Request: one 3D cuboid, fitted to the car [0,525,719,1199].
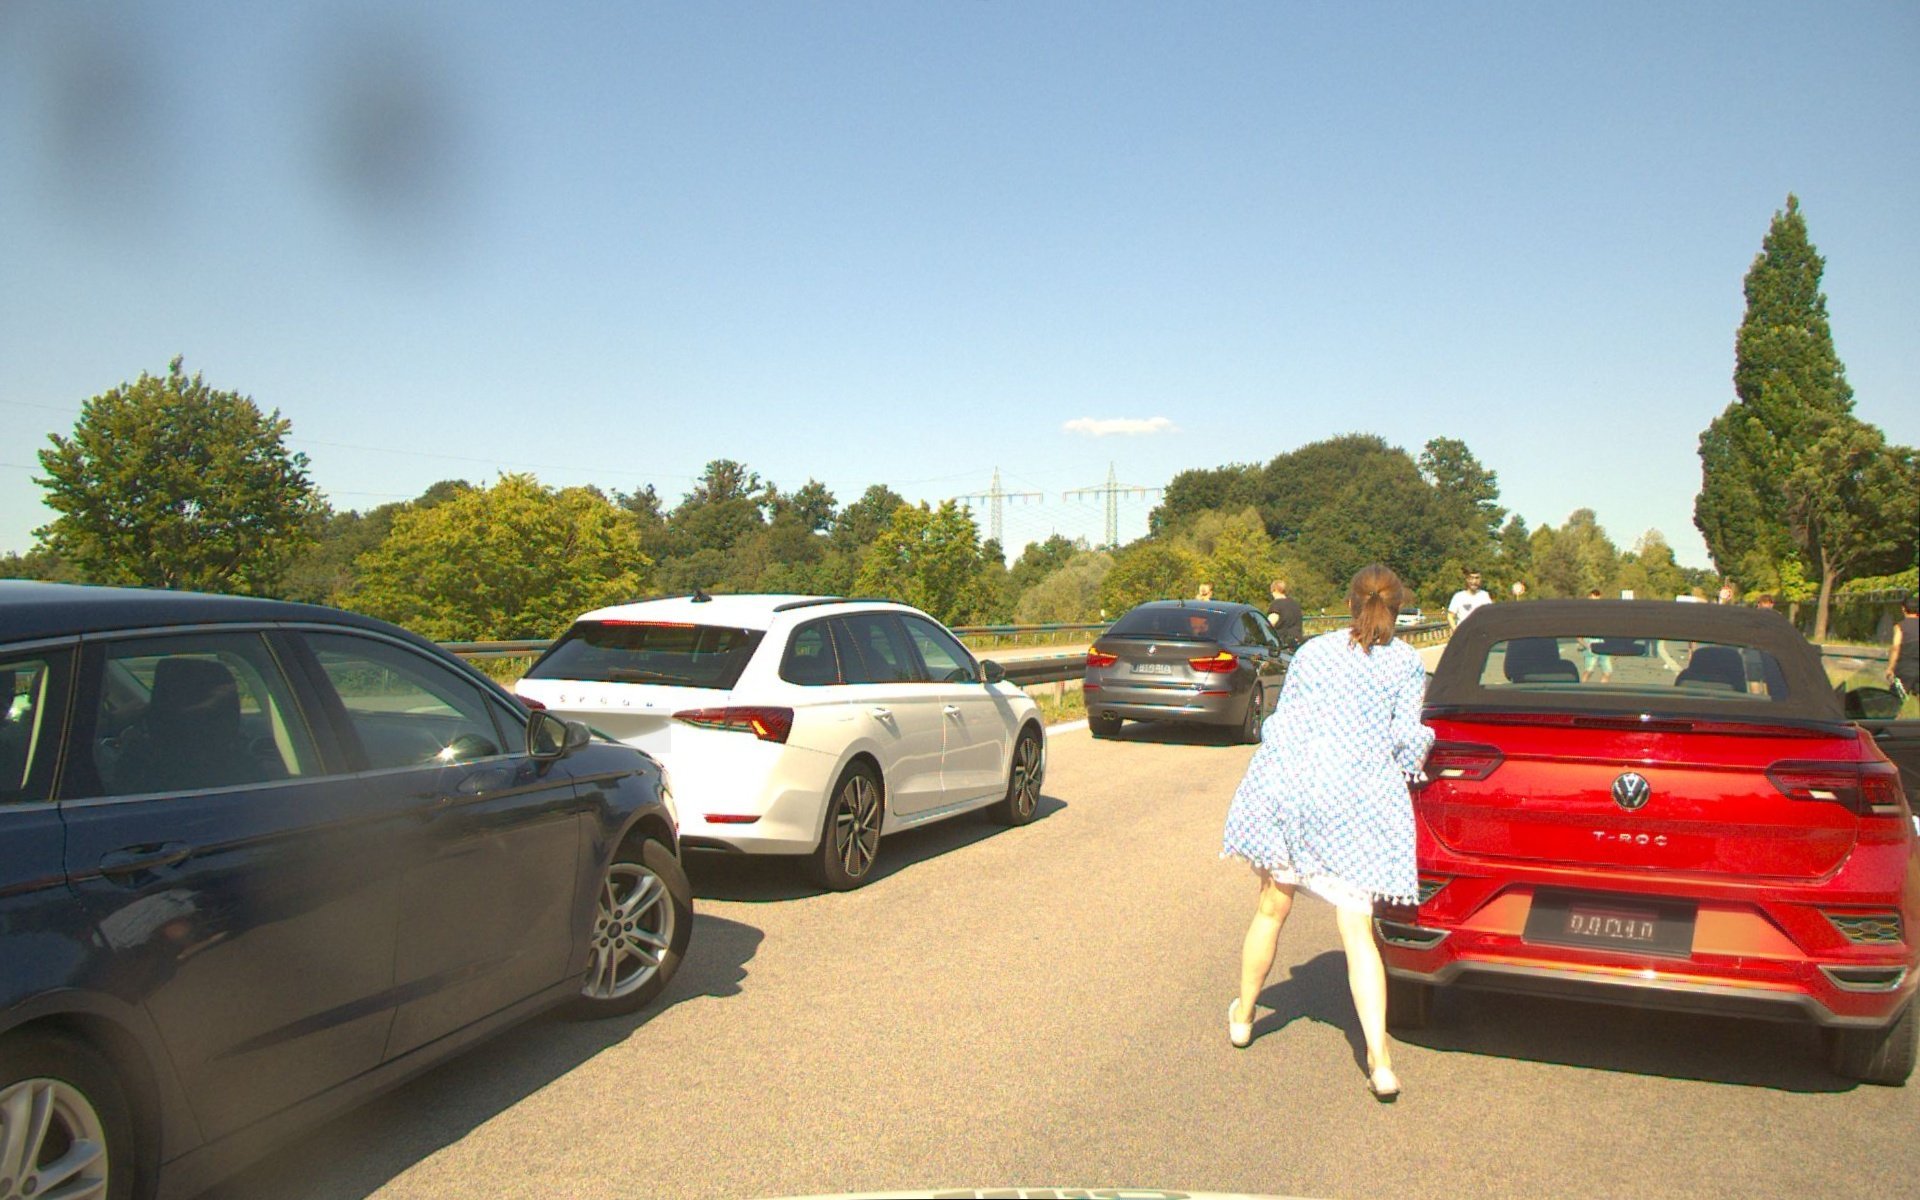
[{"bbox_3d":[-2.257,0.632,4.292,1.750,1.519,4.497,0,0,13],"label":"car"}]

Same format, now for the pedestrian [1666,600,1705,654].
[{"bbox_3d":[24.150,0.893,55.060,1.092,1.719,0.972,1,0,29],"label":"pedestrian"}]

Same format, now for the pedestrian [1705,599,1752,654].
[{"bbox_3d":[24.918,0.853,53.633,0.996,1.719,0.990,2,0,-29],"label":"pedestrian"}]

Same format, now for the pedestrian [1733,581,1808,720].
[{"bbox_3d":[10.748,0.657,21.956,0.795,1.790,0.828,1,0,22],"label":"pedestrian"}]

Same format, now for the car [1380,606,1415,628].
[{"bbox_3d":[29.515,1.129,111.486,1.661,1.451,4.303,1,0,24],"label":"car"}]

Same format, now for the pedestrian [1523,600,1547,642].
[{"bbox_3d":[23.658,0.869,68.041,0.776,1.719,0.791,1,0,27],"label":"pedestrian"}]

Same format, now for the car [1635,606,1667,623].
[{"bbox_3d":[62.799,1.293,150.276,1.705,1.513,4.191,2,0,38],"label":"car"}]

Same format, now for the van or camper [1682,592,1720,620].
[{"bbox_3d":[65.179,0.568,145.367,1.962,2.356,4.448,1,0,39],"label":"van or camper"}]

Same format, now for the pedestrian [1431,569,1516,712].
[{"bbox_3d":[7.230,0.554,23.358,1.082,1.946,1.258,0,0,15],"label":"pedestrian"}]

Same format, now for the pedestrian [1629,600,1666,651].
[{"bbox_3d":[23.633,0.877,56.836,1.036,1.719,1.016,1,0,28],"label":"pedestrian"}]

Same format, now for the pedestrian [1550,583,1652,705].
[{"bbox_3d":[9.964,0.668,25.737,1.067,1.820,1.106,2,0,-6],"label":"pedestrian"}]

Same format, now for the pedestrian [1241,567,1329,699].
[{"bbox_3d":[4.873,0.485,24.793,1.044,1.916,1.092,0,0,27],"label":"pedestrian"}]

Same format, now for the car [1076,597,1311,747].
[{"bbox_3d":[2.761,0.714,18.662,1.660,1.451,4.334,1,0,21],"label":"car"}]

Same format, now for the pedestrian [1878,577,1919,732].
[{"bbox_3d":[11.103,0.627,19.020,0.877,1.755,0.753,1,0,26],"label":"pedestrian"}]

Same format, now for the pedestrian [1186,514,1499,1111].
[{"bbox_3d":[1.231,0.610,5.270,0.823,1.712,0.743,0,0,27],"label":"pedestrian"}]

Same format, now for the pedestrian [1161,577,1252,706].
[{"bbox_3d":[3.548,0.578,23.736,1.020,1.794,1.118,0,0,24],"label":"pedestrian"}]

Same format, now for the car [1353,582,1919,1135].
[{"bbox_3d":[2.799,0.725,6.846,1.697,1.513,4.210,1,0,21],"label":"car"}]

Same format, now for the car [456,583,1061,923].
[{"bbox_3d":[-0.862,0.674,9.563,1.660,1.466,4.210,1,0,21],"label":"car"}]
